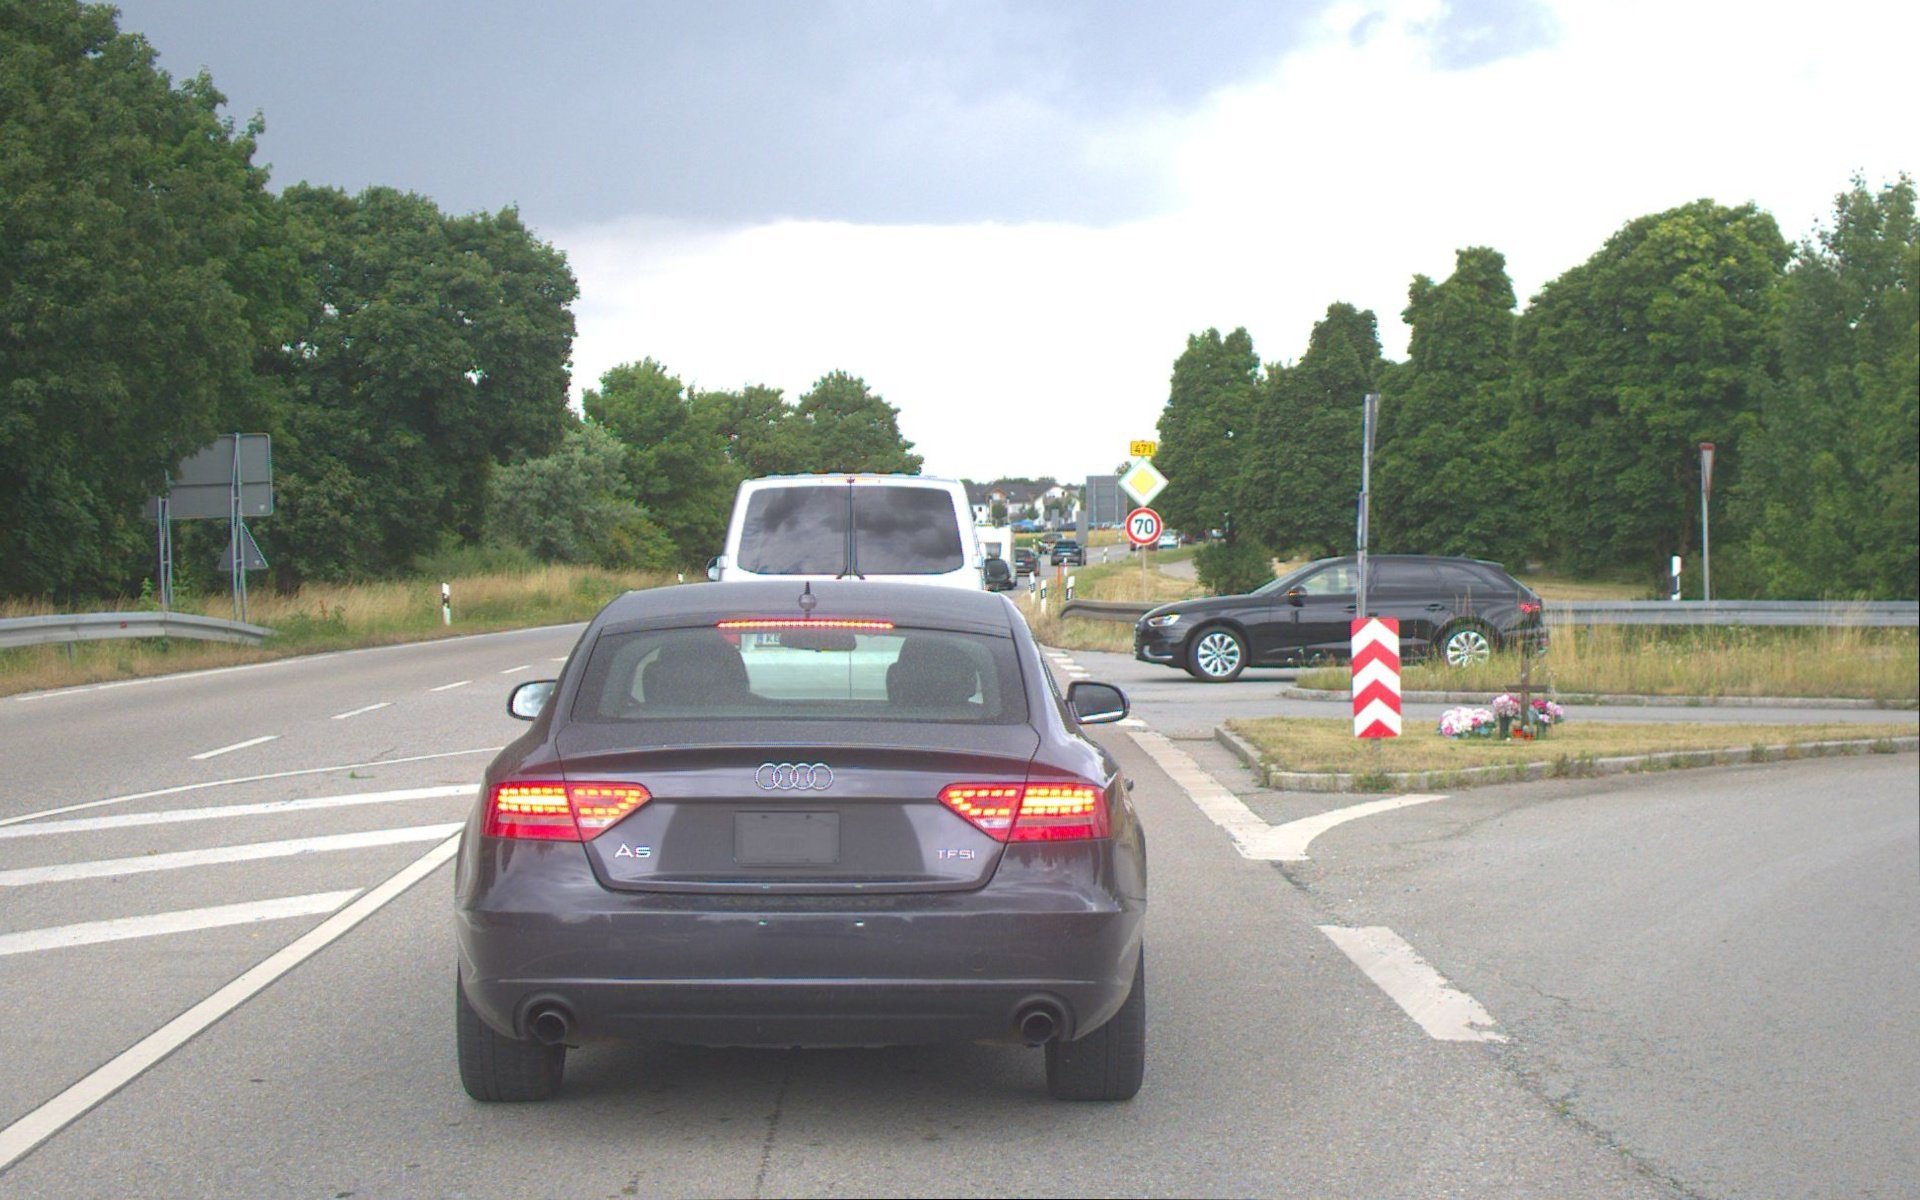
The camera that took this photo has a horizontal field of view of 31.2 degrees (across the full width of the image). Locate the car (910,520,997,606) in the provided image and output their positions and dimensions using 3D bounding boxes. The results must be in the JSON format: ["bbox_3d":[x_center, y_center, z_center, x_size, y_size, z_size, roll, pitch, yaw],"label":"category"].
[{"bbox_3d":[-0.138,-0.933,85.835,1.994,2.081,4.000,0,1,2],"label":"car"}]

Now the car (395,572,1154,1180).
[{"bbox_3d":[-0.463,0.640,10.148,1.783,1.372,4.000,1,1,-1],"label":"car"}]

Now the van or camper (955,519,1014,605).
[{"bbox_3d":[1.040,-1.574,142.115,2.340,3.469,5.718,0,1,2],"label":"van or camper"}]

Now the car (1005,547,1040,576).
[{"bbox_3d":[3.149,-1.942,173.147,1.719,1.446,4.000,1,1,1],"label":"car"}]

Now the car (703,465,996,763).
[{"bbox_3d":[-0.725,0.047,23.870,1.838,1.876,4.000,1,1,-1],"label":"car"}]

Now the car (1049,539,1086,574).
[{"bbox_3d":[6.285,-2.545,201.519,1.993,2.007,4.000,0,1,-1],"label":"car"}]

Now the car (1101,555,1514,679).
[{"bbox_3d":[3.908,0.173,39.282,4.596,1.369,1.826,0,1,2],"label":"car"}]

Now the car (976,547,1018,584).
[{"bbox_3d":[1.389,-1.270,126.845,1.258,1.349,3.465,0,1,5],"label":"car"}]
